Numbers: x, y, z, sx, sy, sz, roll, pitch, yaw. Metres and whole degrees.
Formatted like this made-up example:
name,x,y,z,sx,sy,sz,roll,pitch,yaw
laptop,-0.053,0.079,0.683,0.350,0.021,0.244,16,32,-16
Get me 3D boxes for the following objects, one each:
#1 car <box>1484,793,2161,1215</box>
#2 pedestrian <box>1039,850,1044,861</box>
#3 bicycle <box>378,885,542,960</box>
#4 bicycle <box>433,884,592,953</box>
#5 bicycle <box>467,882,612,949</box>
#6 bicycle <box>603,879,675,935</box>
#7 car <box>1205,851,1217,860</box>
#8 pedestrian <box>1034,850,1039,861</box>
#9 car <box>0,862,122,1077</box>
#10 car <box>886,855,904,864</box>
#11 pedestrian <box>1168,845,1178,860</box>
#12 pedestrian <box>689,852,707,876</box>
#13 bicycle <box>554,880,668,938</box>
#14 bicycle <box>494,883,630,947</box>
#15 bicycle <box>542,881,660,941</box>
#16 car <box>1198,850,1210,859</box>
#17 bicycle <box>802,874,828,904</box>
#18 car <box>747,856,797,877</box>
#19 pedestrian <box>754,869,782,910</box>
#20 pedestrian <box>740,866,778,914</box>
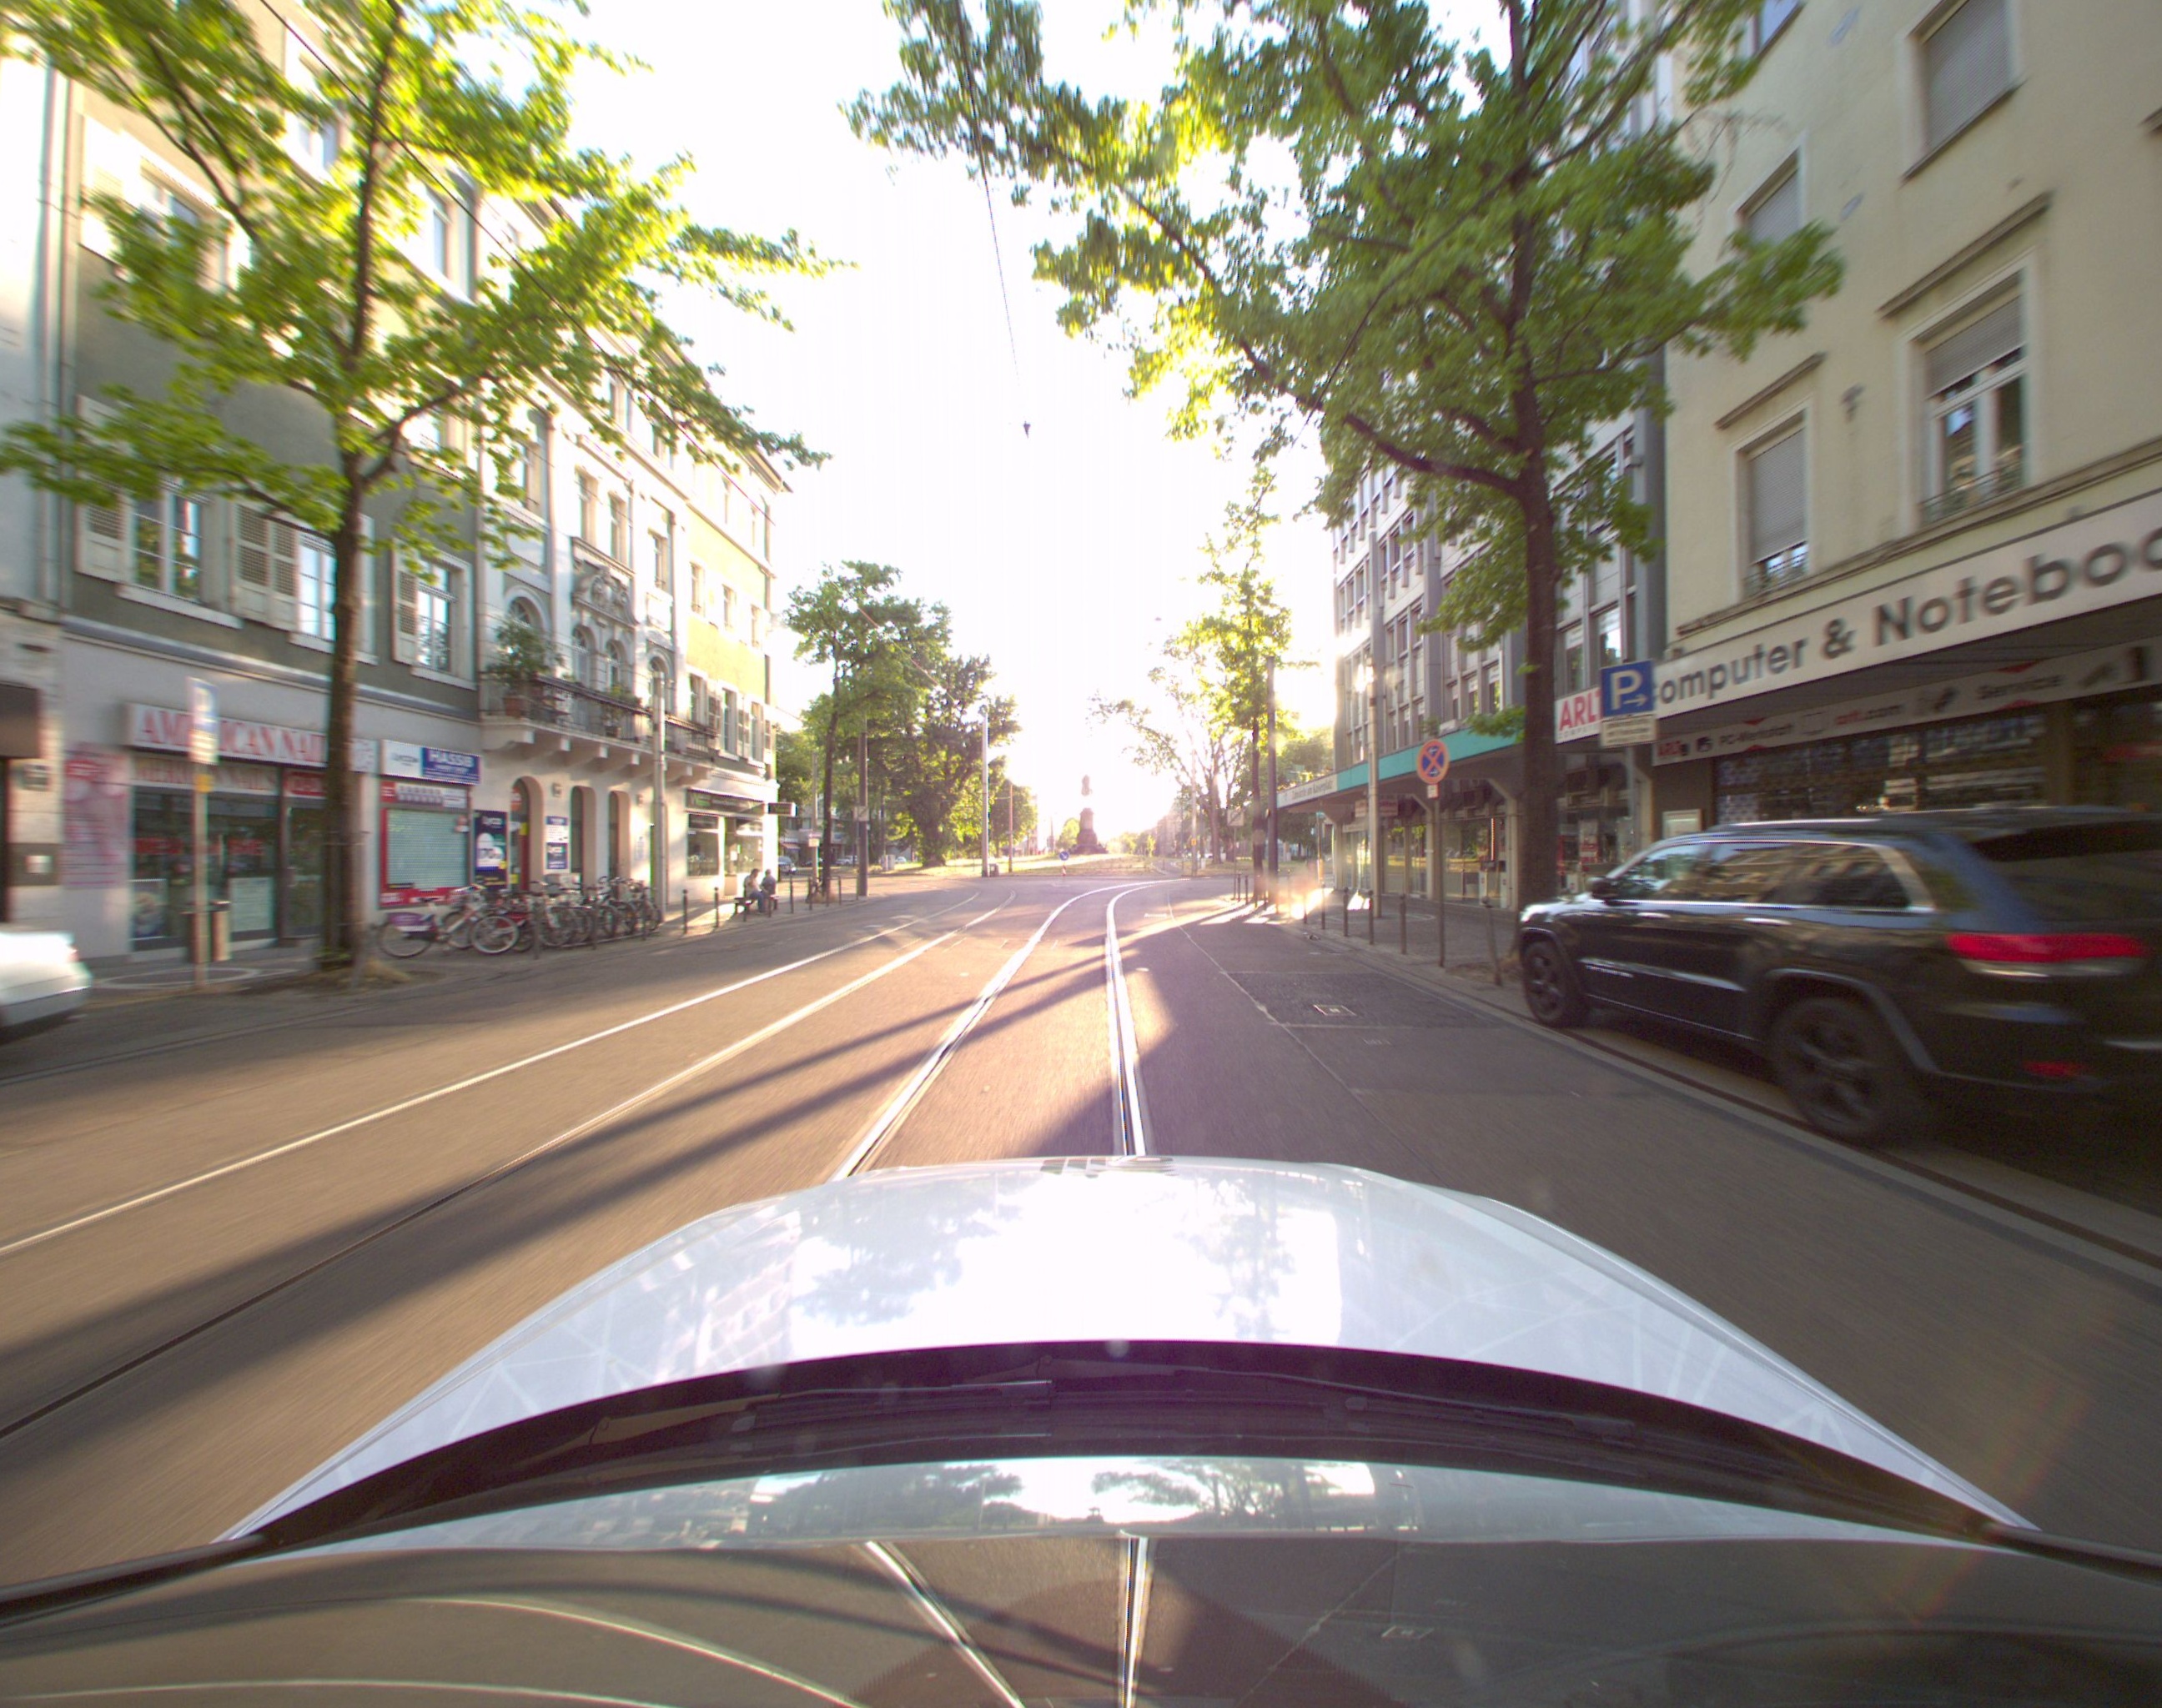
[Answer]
name,x,y,z,sx,sy,sz,roll,pitch,yaw
car,5.039,0.616,5.871,1.931,1.759,4.681,-4,0,1
pedestrian,-6.236,0.220,128.375,0.768,1.606,0.637,-1,0,-6
bicycle,-9.768,1.065,12.895,1.954,1.105,0.563,1,-1,-24
bicycle,-9.537,1.067,13.759,2.118,1.105,0.497,1,-1,-24
bicycle,-9.506,1.069,14.384,2.033,1.105,0.497,1,-1,-24
bicycle,-9.410,1.096,17.321,2.004,1.105,0.504,0,-1,36
car,27.981,0.294,175.340,2.131,2.013,4.001,0,0,1
pedestrian,-7.110,0.232,128.865,0.768,1.606,0.637,-1,0,-6
car,-9.136,0.858,4.543,1.829,1.580,4.704,3,0,2
car,-31.080,0.912,136.436,1.869,1.420,3.929,-1,0,4
pedestrian,9.689,-0.142,85.479,0.776,1.606,0.630,-1,0,-41
pedestrian,-23.336,0.596,49.649,0.762,1.410,0.750,-1,0,43
bicycle,-9.480,1.102,16.450,2.015,1.105,0.501,1,-1,3
bicycle,-9.496,1.104,14.984,2.033,1.105,0.497,1,-1,-24
bicycle,-9.334,1.102,15.861,2.015,1.105,0.501,1,-1,3
car,28.000,0.138,185.492,2.131,2.013,4.001,0,0,1
bicycle,-9.136,1.196,28.050,0.335,0.946,1.510,-1,0,2
car,-26.210,1.041,69.051,4.303,1.676,1.982,0,-1,38
pedestrian,-9.342,1.056,24.320,0.589,1.194,0.641,0,0,-1
pedestrian,-8.973,0.984,22.743,0.726,1.290,0.856,0,0,-1
